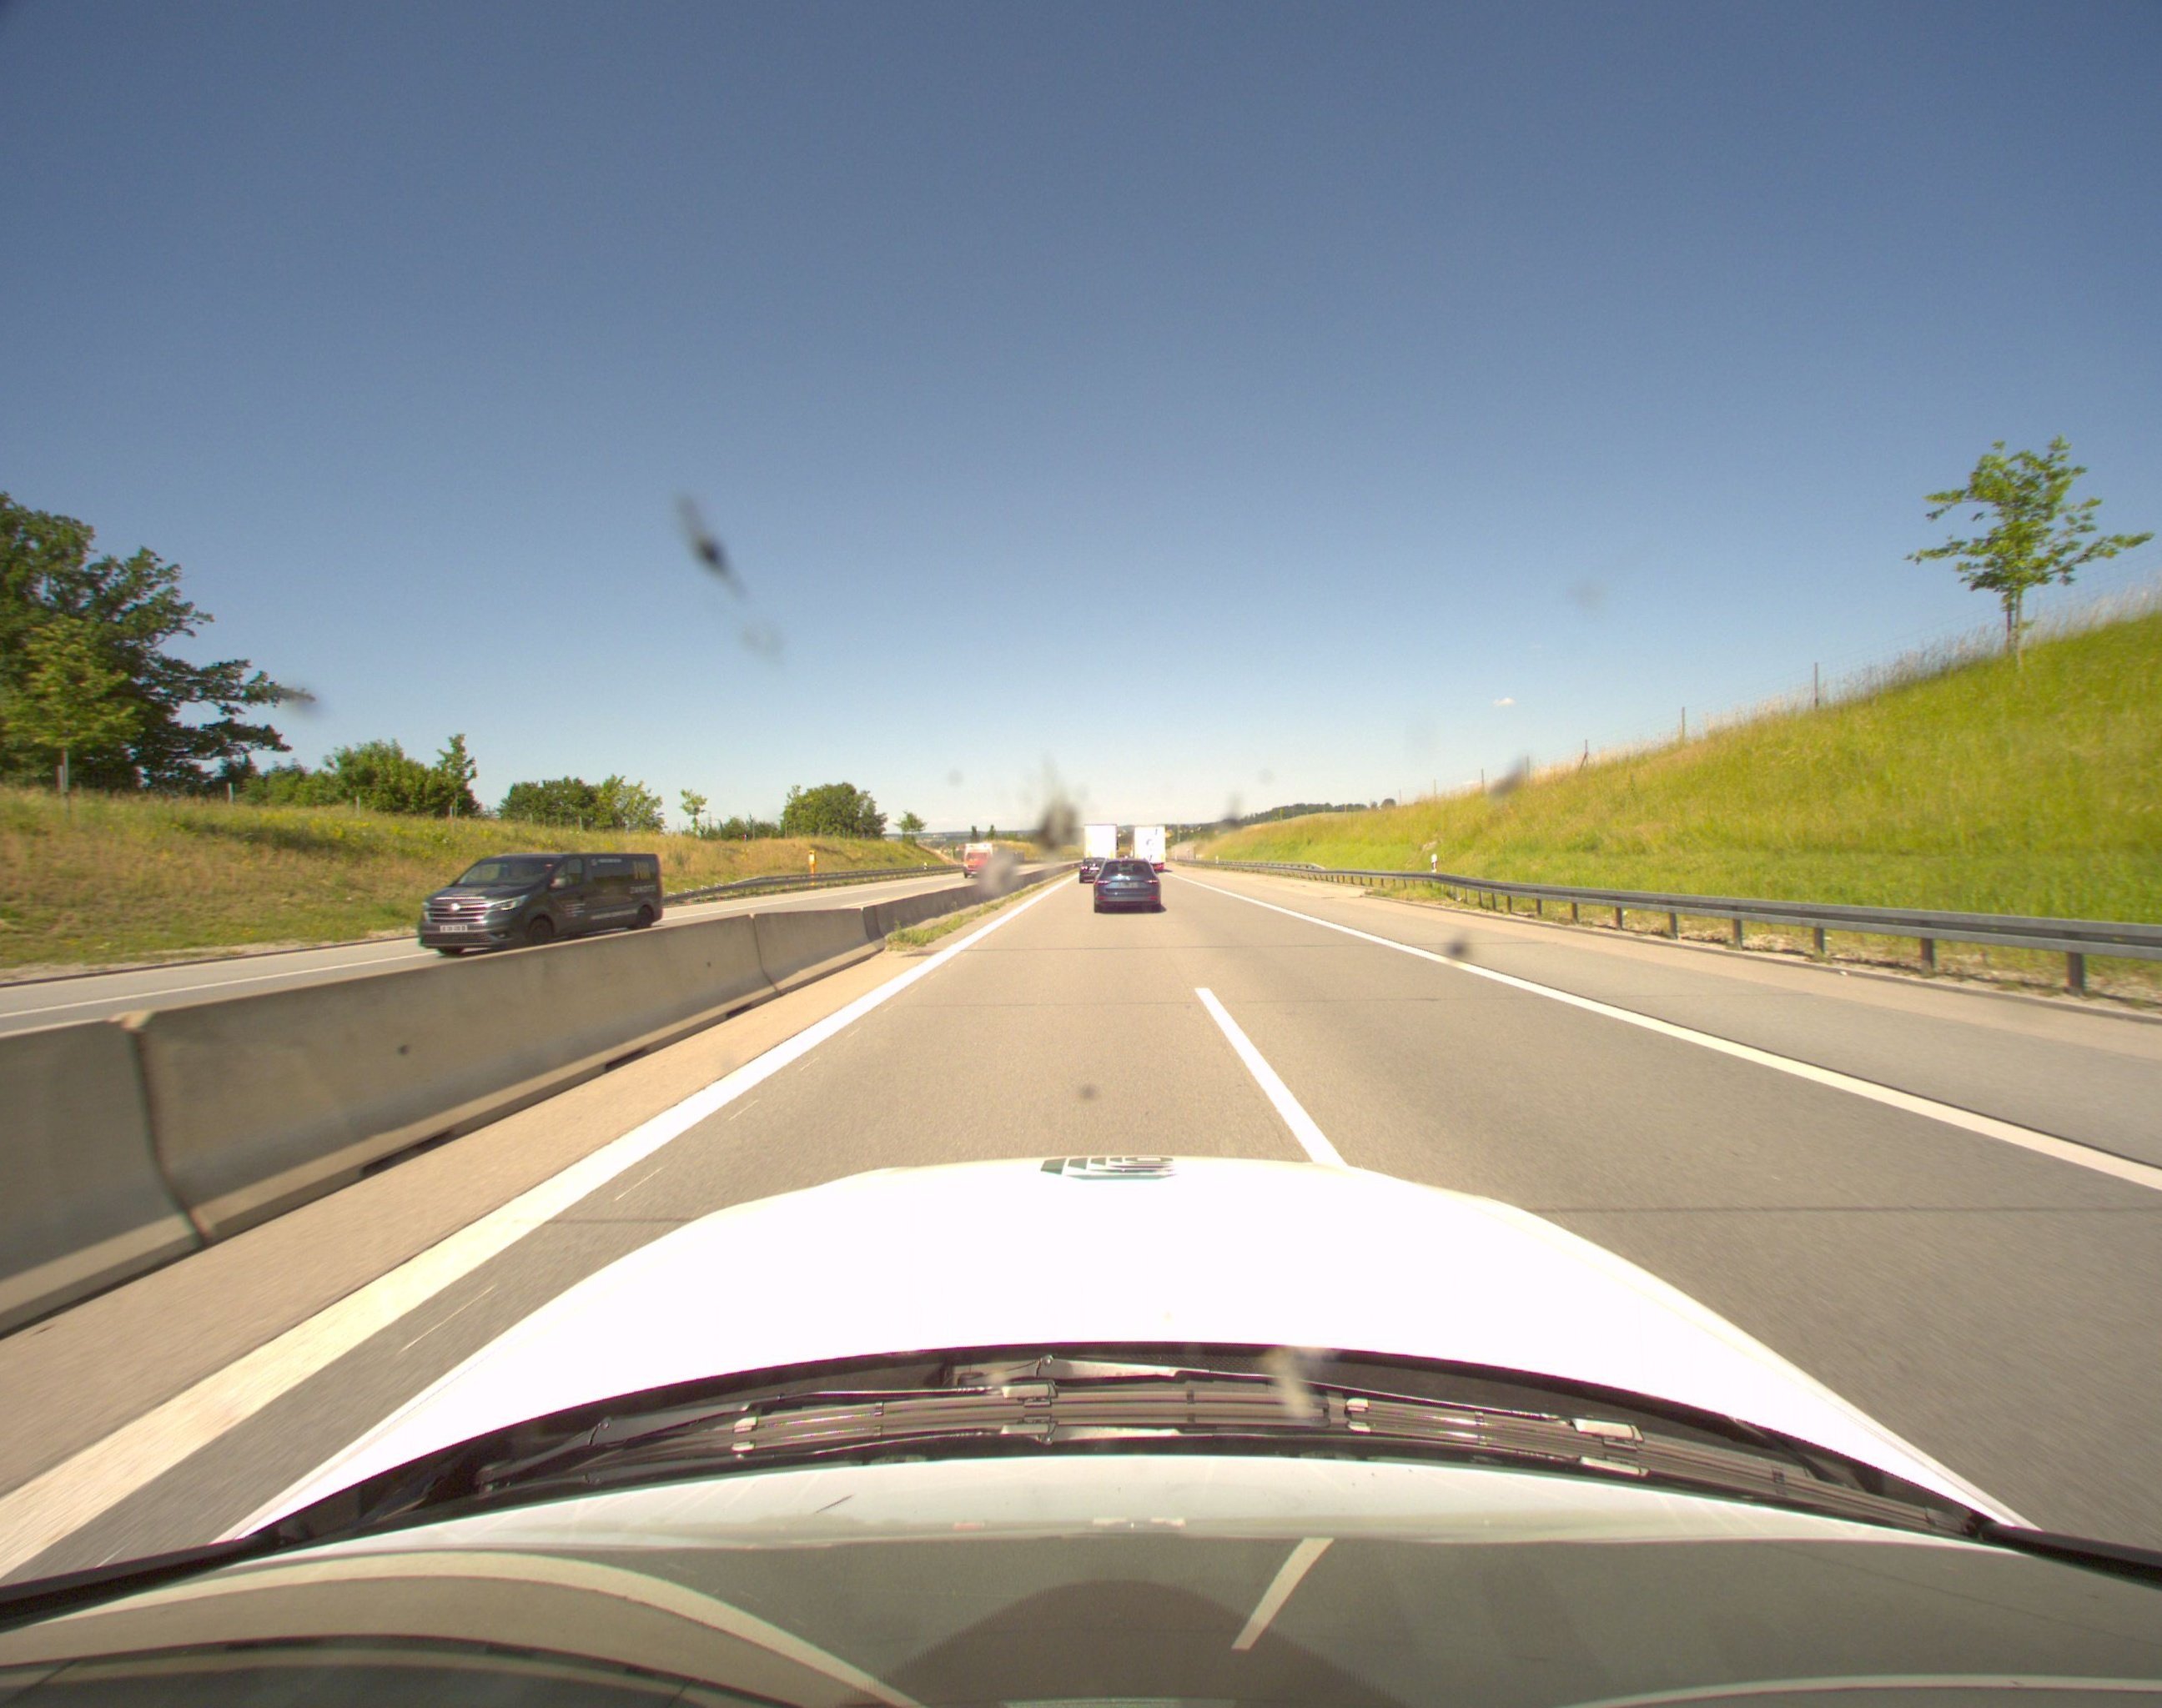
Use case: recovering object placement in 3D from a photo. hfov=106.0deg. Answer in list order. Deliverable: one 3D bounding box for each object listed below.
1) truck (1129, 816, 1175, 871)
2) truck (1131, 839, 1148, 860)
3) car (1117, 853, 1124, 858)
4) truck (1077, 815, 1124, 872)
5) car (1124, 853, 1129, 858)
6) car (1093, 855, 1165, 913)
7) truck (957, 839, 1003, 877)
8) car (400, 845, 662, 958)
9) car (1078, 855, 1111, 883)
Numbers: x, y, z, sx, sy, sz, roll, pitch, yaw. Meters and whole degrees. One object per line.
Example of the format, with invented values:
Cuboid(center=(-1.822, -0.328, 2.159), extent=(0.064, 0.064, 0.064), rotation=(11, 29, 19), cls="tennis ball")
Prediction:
Cuboid(center=(6.375, -0.869, 73.948), extent=(3.588, 4.381, 11.246), rotation=(-3, 0, 4), cls="truck")
Cuboid(center=(13.622, -1.045, 188.600), extent=(3.588, 4.381, 11.246), rotation=(-3, 0, 4), cls="truck")
Cuboid(center=(10.196, 0.392, 209.371), extent=(1.693, 1.441, 4.003), rotation=(-1, 0, 3), cls="car")
Cuboid(center=(1.810, -0.837, 70.092), extent=(3.196, 4.381, 11.247), rotation=(-3, 0, 4), cls="truck")
Cuboid(center=(14.079, 0.436, 251.861), extent=(1.693, 1.441, 4.003), rotation=(-1, 0, 3), cls="car")
Cuboid(center=(1.250, 0.767, 22.573), extent=(1.771, 1.441, 3.788), rotation=(-1, 0, 0), cls="car")
Cuboid(center=(-8.450, 0.341, 68.801), extent=(2.764, 3.021, 6.795), rotation=(-1, 0, 2), cls="truck")
Cuboid(center=(-11.137, 0.852, 17.074), extent=(1.986, 2.013, 4.972), rotation=(0, 0, 2), cls="car")
Cuboid(center=(0.737, 0.813, 46.240), extent=(1.694, 1.441, 4.000), rotation=(-3, 0, 0), cls="car")
